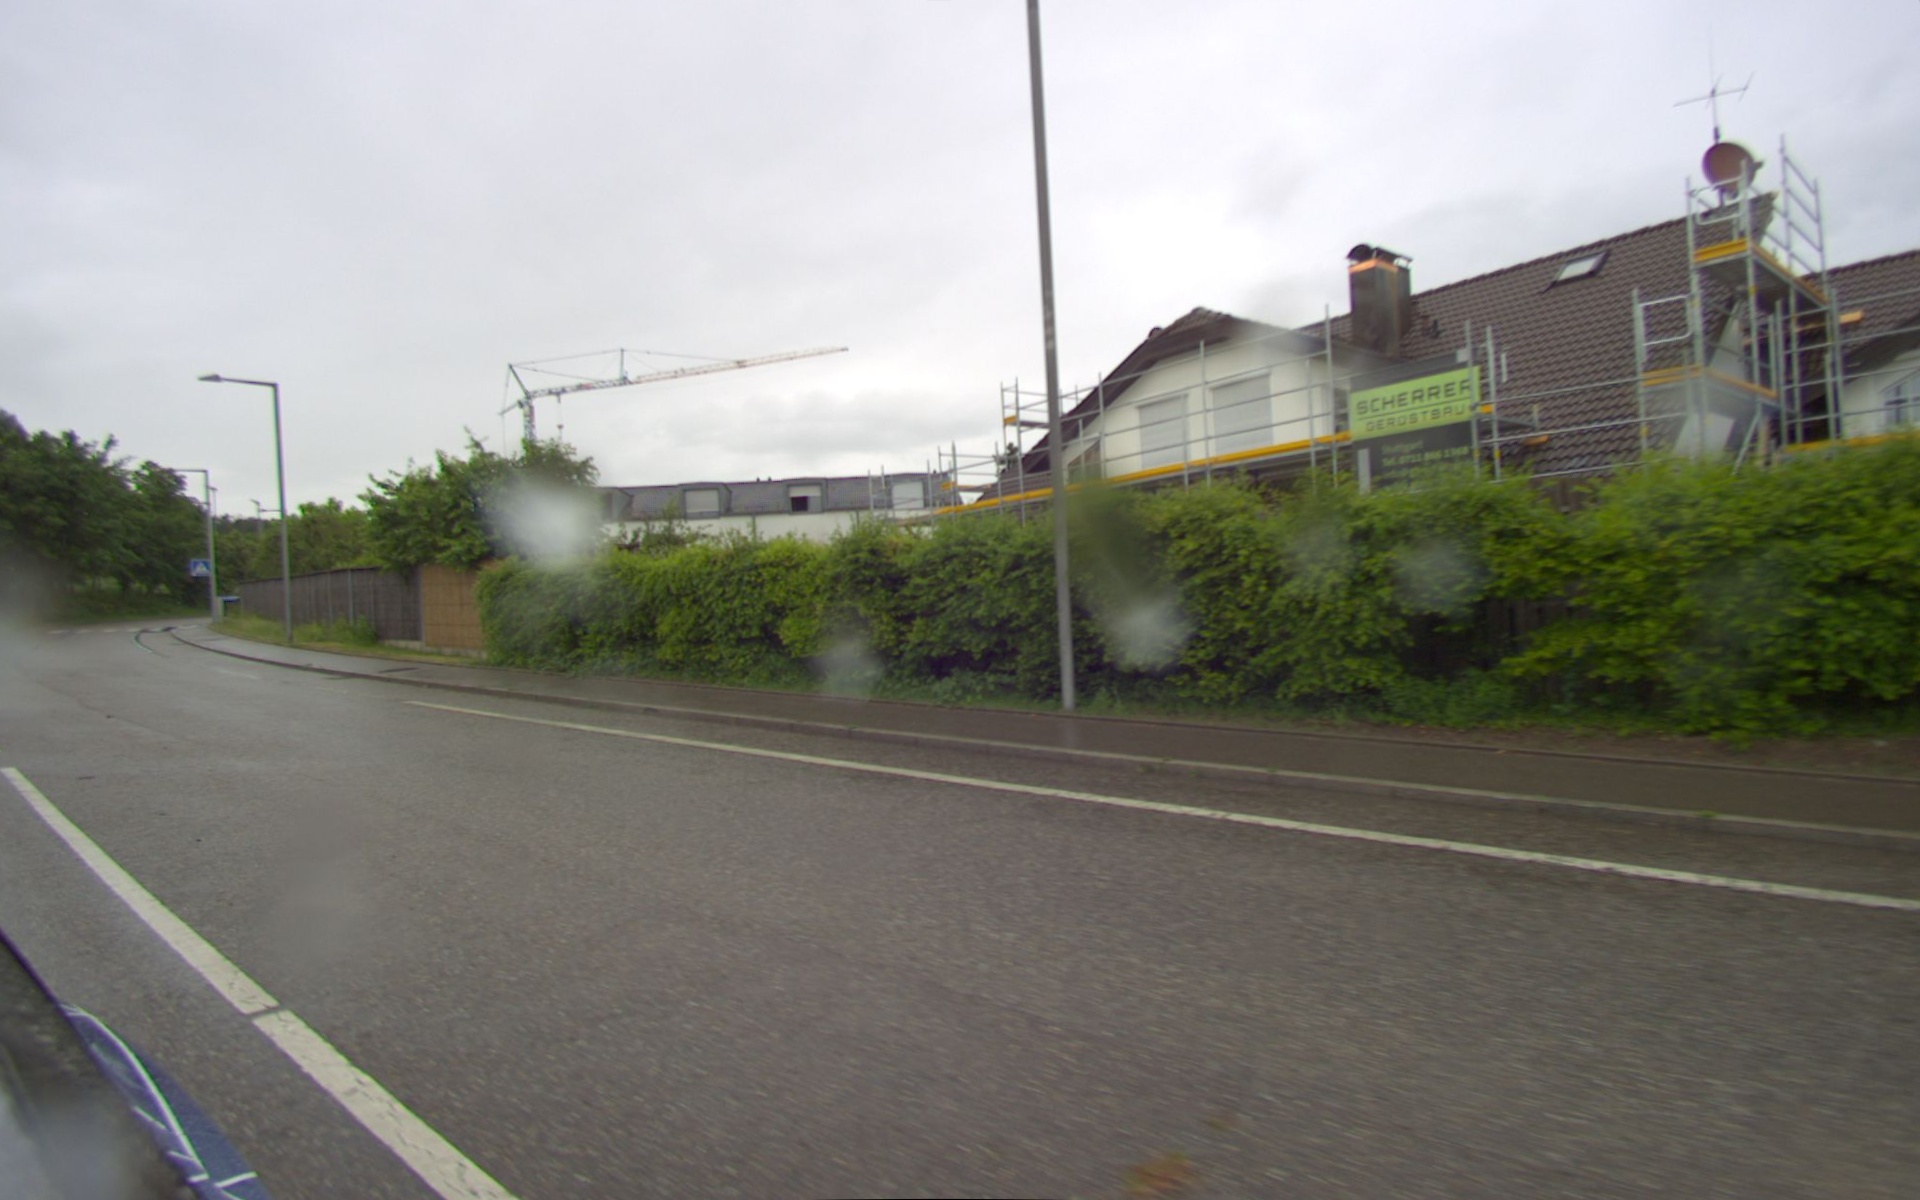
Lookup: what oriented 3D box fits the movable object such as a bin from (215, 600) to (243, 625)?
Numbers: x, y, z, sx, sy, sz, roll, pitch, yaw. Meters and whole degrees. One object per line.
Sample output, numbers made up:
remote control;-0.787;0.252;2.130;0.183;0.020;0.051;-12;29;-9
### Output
movable object such as a bin;-43.280;0.747;59.914;1.116;1.331;1.366;-6;2;-30
